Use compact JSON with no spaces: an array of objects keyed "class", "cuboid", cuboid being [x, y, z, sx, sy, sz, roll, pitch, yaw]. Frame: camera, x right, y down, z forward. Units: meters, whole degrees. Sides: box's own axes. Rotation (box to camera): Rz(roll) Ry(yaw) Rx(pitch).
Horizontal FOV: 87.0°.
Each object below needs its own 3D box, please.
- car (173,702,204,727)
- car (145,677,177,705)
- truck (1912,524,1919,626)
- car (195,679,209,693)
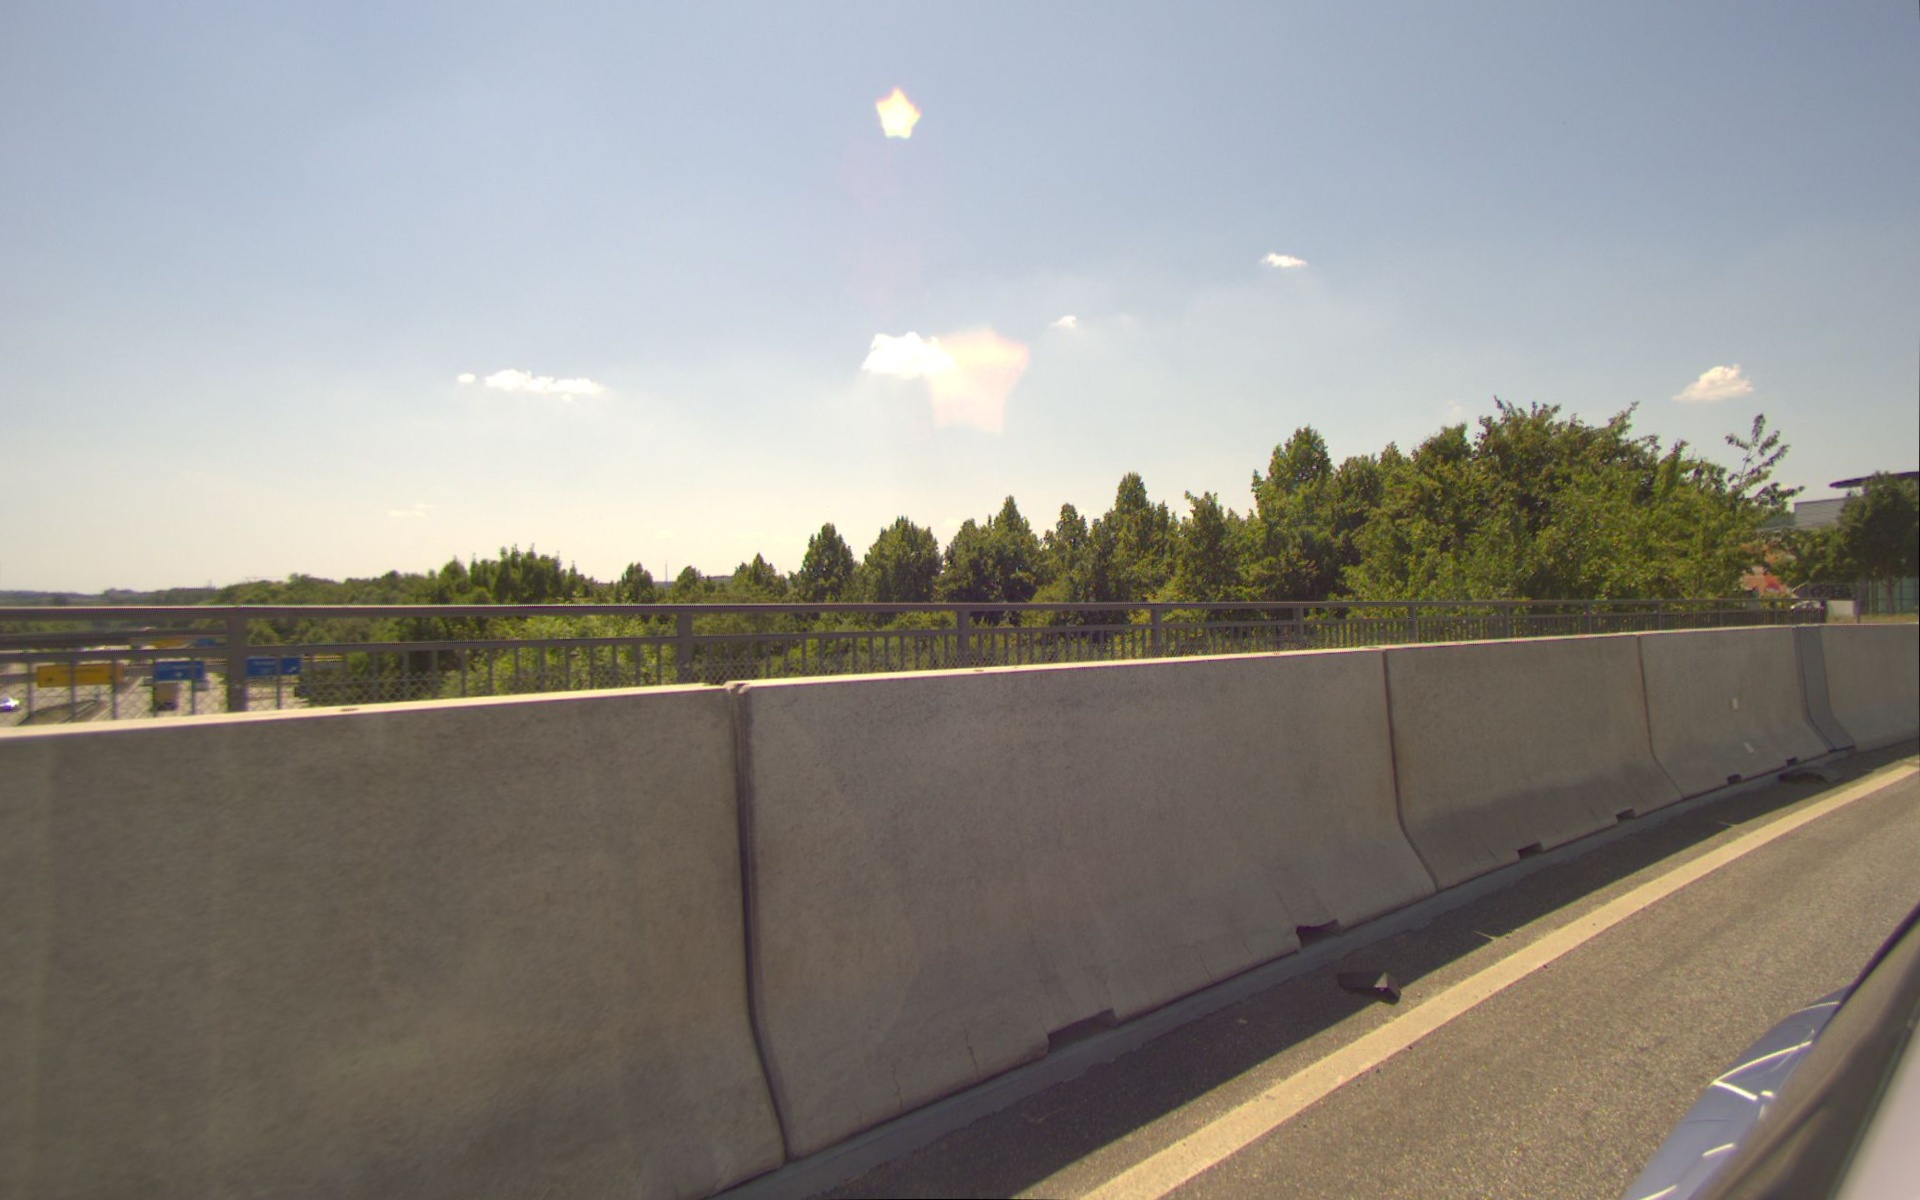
[{"class":"car","cuboid":[-72.978,10.826,95.699,2.314,2.040,4.757,-1,-3,-38]},{"class":"car","cuboid":[-96.794,11.003,122.642,2.870,3.120,7.368,0,-3,-37]},{"class":"truck","cuboid":[34.516,-0.982,31.073,2.368,3.389,7.210,-4,1,-28]},{"class":"car","cuboid":[-116.047,13.122,154.900,1.647,1.899,3.996,-1,-3,-36]}]
